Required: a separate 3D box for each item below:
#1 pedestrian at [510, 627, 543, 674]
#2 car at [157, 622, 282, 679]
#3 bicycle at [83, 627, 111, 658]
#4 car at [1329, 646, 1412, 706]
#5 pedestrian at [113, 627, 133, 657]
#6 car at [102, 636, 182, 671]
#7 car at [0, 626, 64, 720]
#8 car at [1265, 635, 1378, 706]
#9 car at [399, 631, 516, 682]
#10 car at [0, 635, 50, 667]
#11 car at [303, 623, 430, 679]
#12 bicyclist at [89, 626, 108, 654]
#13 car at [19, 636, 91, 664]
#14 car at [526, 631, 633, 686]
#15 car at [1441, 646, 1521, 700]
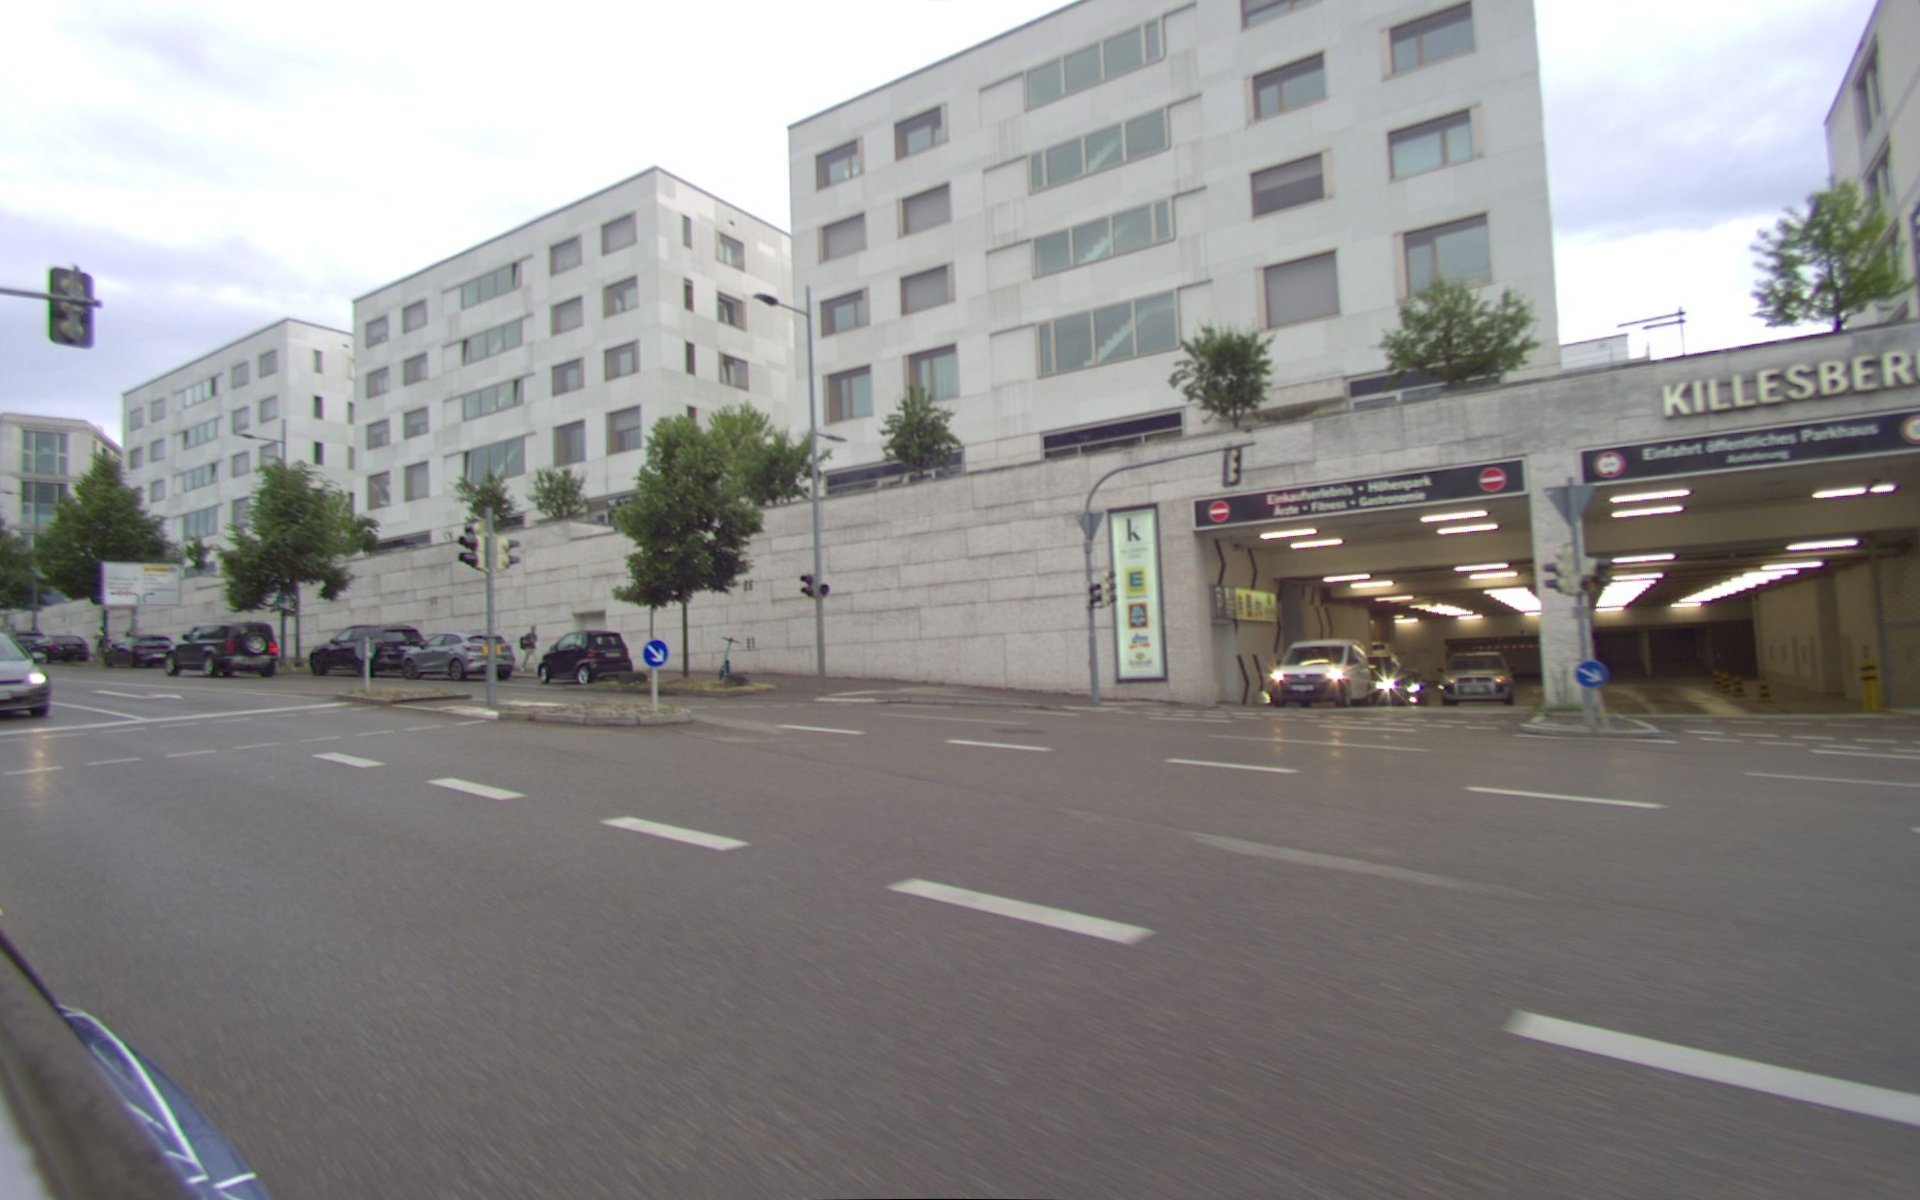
[{"bbox_3d":[-16.783,1.952,39.155,1.018,1.788,0.702,-2,-3,32],"label":"pedestrian"},{"bbox_3d":[-25.973,1.784,35.460,4.489,1.872,1.906,-2,-4,31],"label":"car"},{"bbox_3d":[-49.487,2.430,58.026,1.874,1.669,0.737,0,0,33],"label":"bicycle"},{"bbox_3d":[13.057,2.444,32.087,1.927,1.718,3.959,-2,-7,30],"label":"car"},{"bbox_3d":[-50.417,2.520,60.966,0.689,1.788,0.713,-3,-3,31],"label":"pedestrian"},{"bbox_3d":[-36.477,2.360,45.088,3.953,1.437,1.665,-2,-2,33],"label":"car"},{"bbox_3d":[-16.988,1.240,17.186,3.993,1.450,1.882,-2,0,37],"label":"car"},{"bbox_3d":[9.465,1.762,26.264,1.921,1.685,4.468,-1,-3,31],"label":"car"},{"bbox_3d":[-15.996,1.771,32.191,3.698,1.526,1.666,-2,-2,32],"label":"car"},{"bbox_3d":[-50.721,2.701,54.330,4.348,1.633,1.690,-1,-2,33],"label":"car"},{"bbox_3d":[-20.595,1.744,35.054,4.579,1.794,1.843,-2,-2,31],"label":"car"},{"bbox_3d":[-49.297,2.287,57.887,0.767,1.529,0.572,0,-2,33],"label":"bicyclist"},{"bbox_3d":[-45.845,2.527,51.247,4.151,1.370,1.681,-2,-3,33],"label":"car"},{"bbox_3d":[-11.220,1.688,29.792,2.971,1.526,1.496,-2,-2,33],"label":"car"},{"bbox_3d":[14.193,1.942,27.497,1.655,1.361,3.665,-2,-4,31],"label":"car"}]
